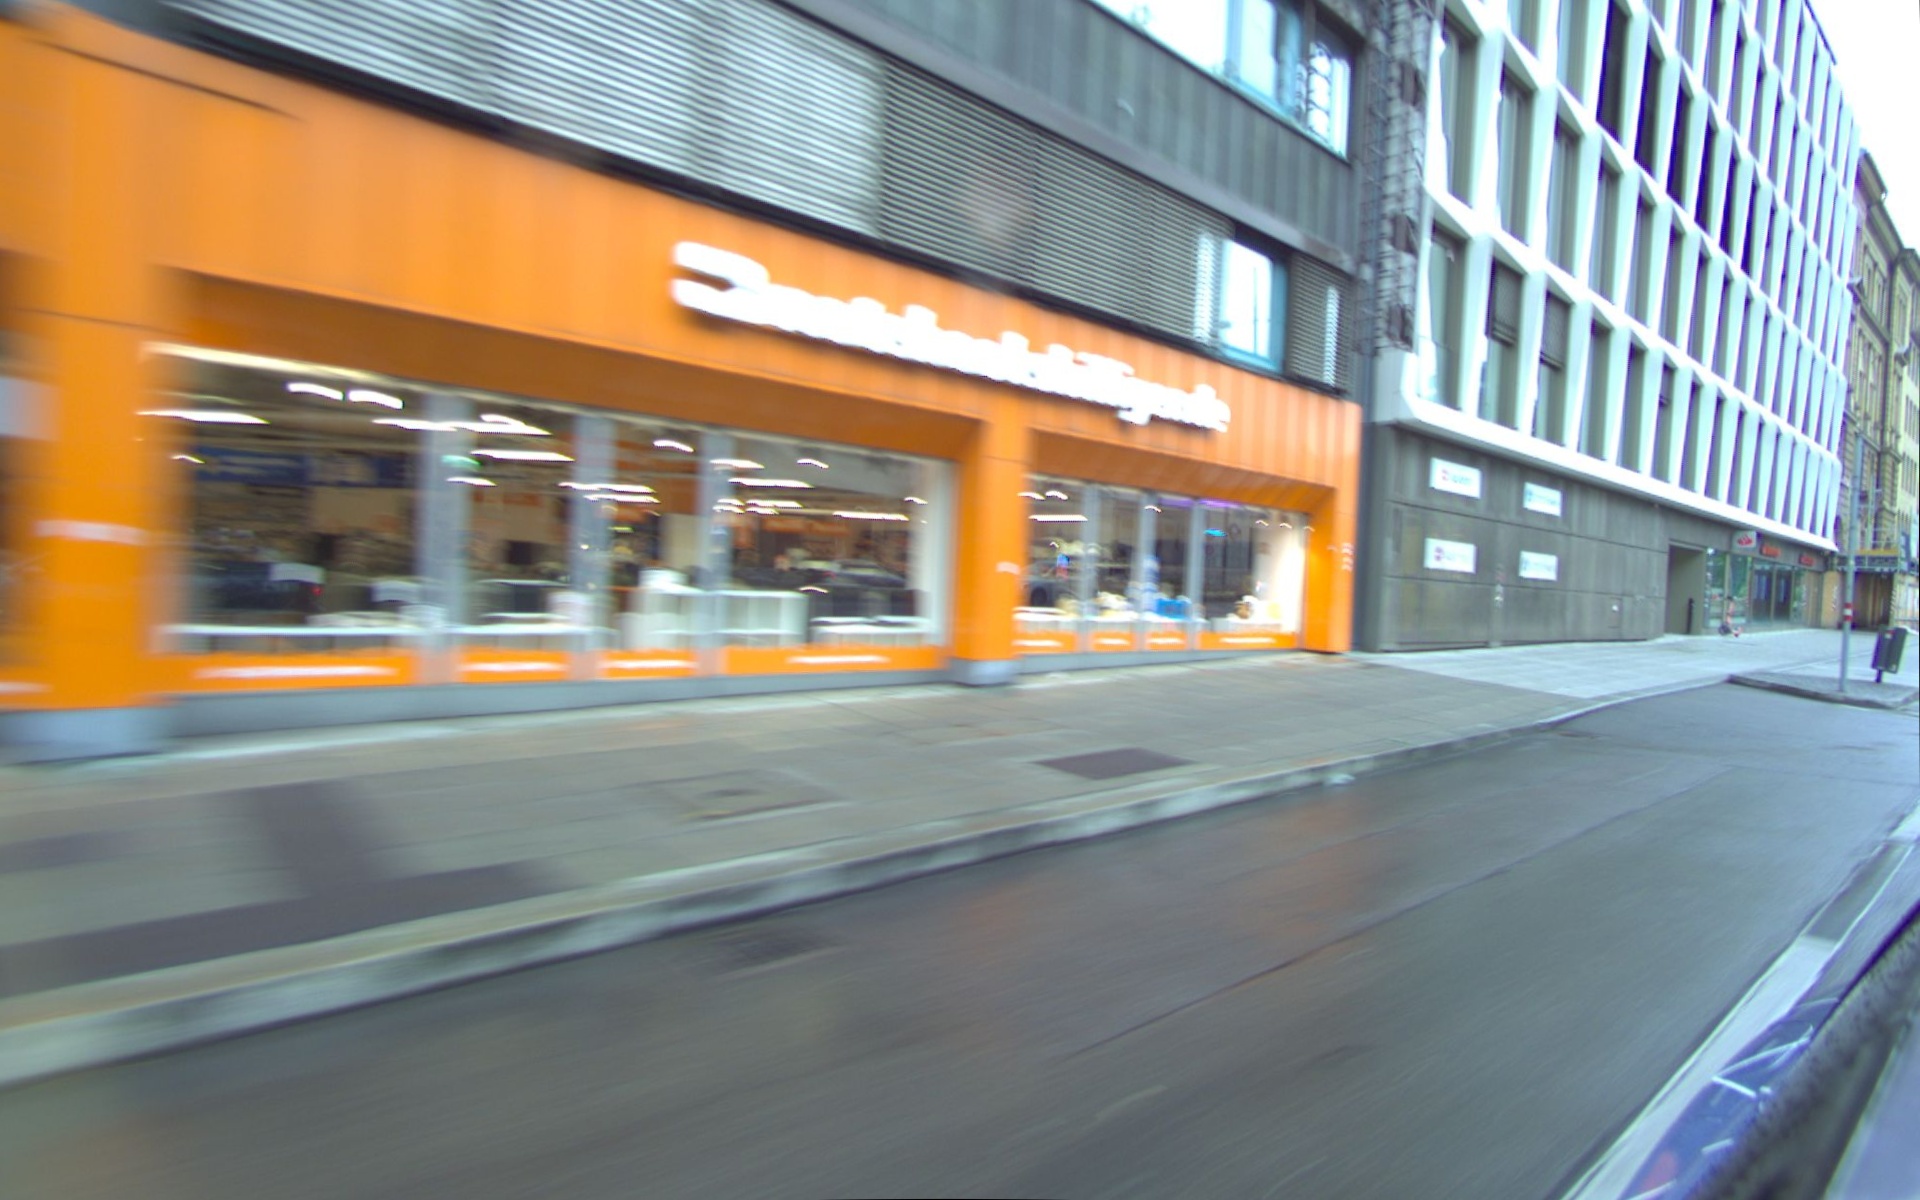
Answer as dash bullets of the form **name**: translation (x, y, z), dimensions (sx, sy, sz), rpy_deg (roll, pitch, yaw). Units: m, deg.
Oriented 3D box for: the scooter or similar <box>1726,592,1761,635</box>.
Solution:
- **scooter or similar**: translation (23.833, 0.410, 30.781), dimensions (1.166, 1.251, 0.413), rpy_deg (1, 1, -33)
